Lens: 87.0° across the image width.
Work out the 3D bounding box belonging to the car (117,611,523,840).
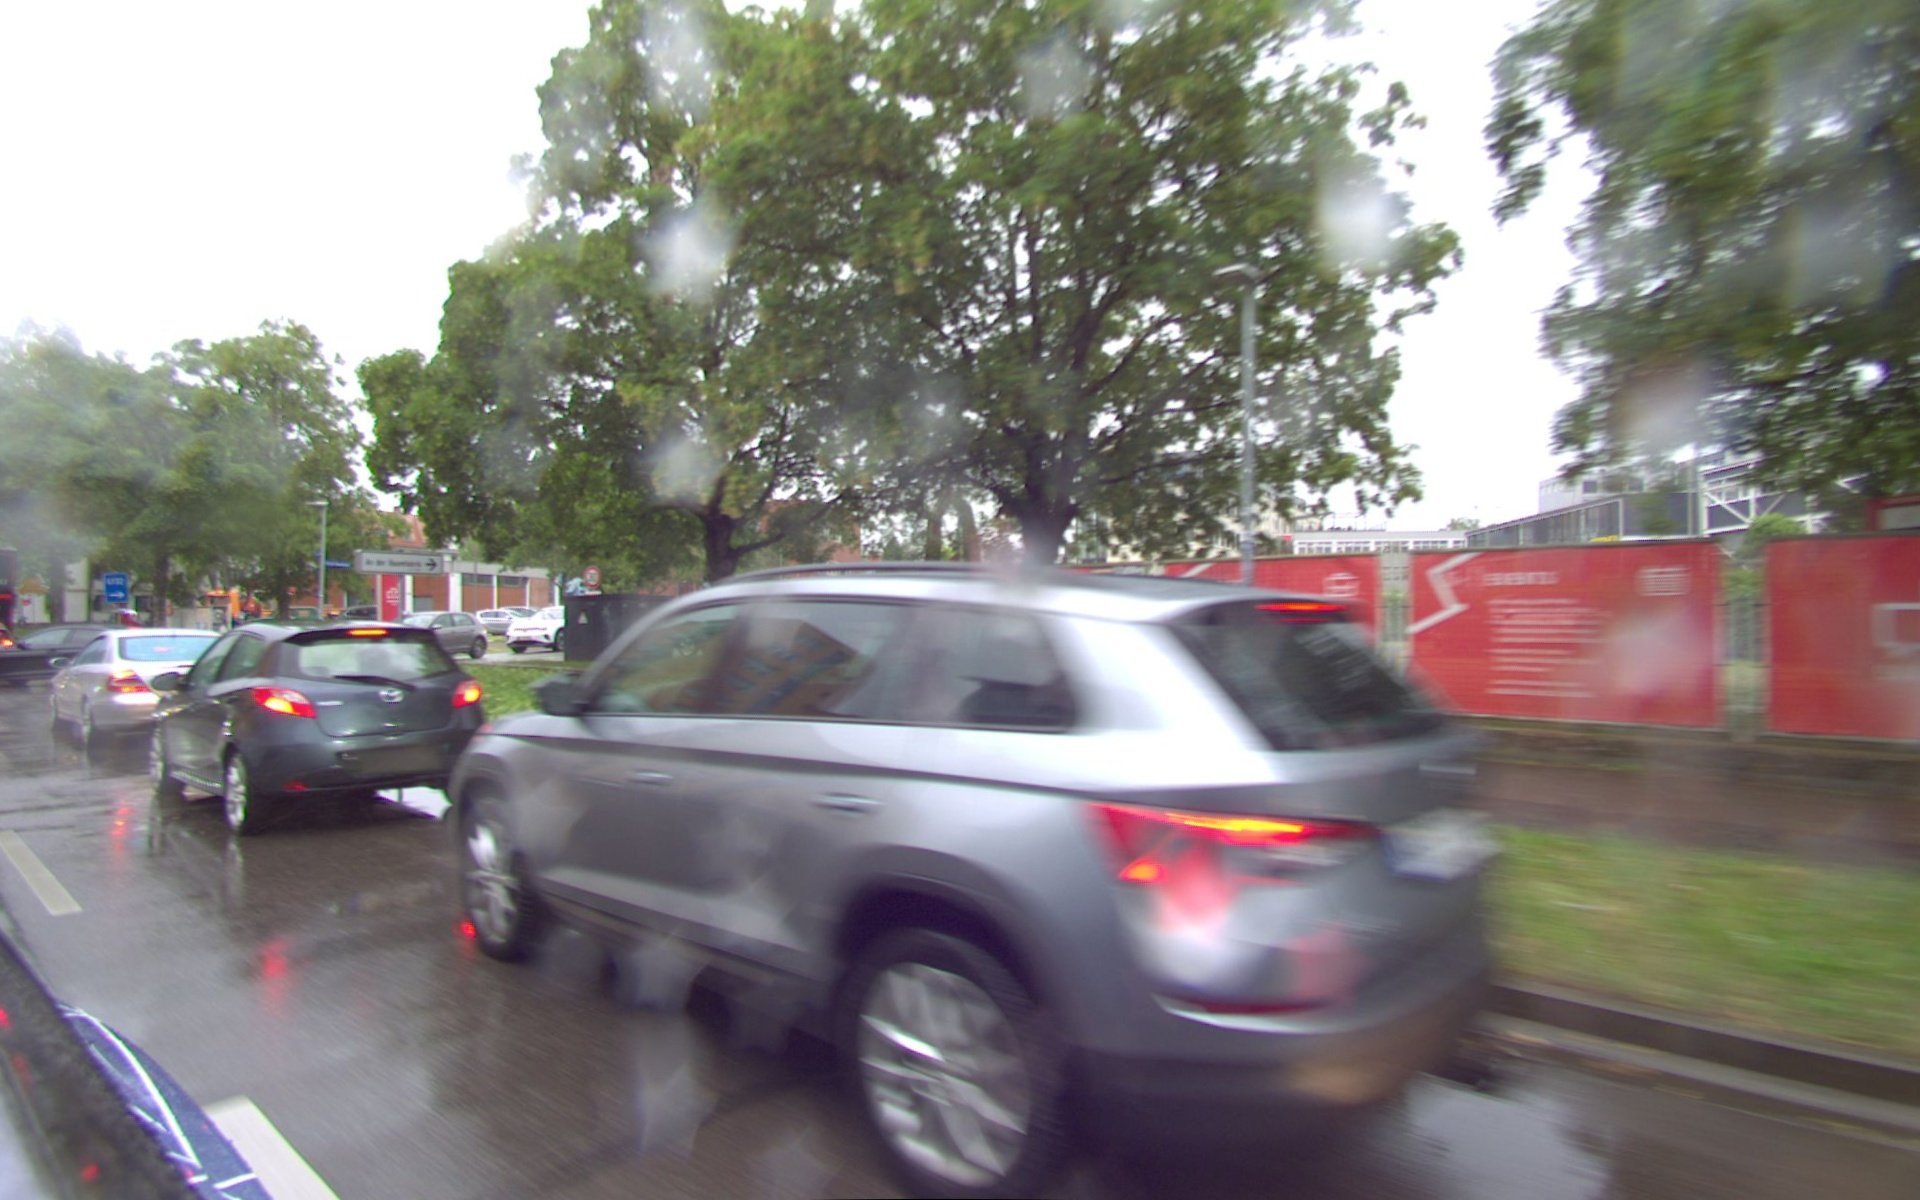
[{"bbox_3d":[-5.485,0.846,8.439,4.263,1.431,1.760,-2,-2,42],"label":"car"}]

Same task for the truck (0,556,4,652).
[{"bbox_3d":[-44.903,0.260,44.609,6.971,4.109,3.414,-2,-1,41],"label":"truck"}]

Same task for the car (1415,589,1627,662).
[{"bbox_3d":[12.957,0.594,23.645,3.962,1.595,1.794,-1,-1,15],"label":"car"}]

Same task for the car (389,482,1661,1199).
[{"bbox_3d":[-0.343,0.656,3.930,4.821,1.652,1.893,-1,0,43],"label":"car"}]

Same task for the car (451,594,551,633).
[{"bbox_3d":[-24.878,0.747,54.964,4.620,2.029,1.996,-1,-1,7],"label":"car"}]

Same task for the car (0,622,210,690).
[{"bbox_3d":[-20.838,1.279,23.685,4.844,1.465,2.092,0,-1,-16],"label":"car"}]

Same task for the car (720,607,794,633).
[{"bbox_3d":[-14.457,1.436,72.192,4.844,1.736,1.996,-1,-1,7],"label":"car"}]

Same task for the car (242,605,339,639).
[{"bbox_3d":[-34.388,1.132,51.993,3.938,1.613,2.003,-1,-2,-41],"label":"car"}]

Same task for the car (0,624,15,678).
[{"bbox_3d":[-26.017,1.311,26.401,4.337,1.371,1.707,-2,-2,43],"label":"car"}]

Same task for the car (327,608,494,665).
[{"bbox_3d":[-15.790,1.000,29.394,1.991,1.405,4.326,-1,1,11],"label":"car"}]

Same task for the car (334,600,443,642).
[{"bbox_3d":[-25.831,0.964,45.830,3.956,1.804,1.994,-1,-1,10],"label":"car"}]

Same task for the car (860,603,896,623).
[{"bbox_3d":[-6.842,1.100,84.750,1.980,1.587,3.984,-1,0,13],"label":"car"}]

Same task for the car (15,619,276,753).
[{"bbox_3d":[-10.742,0.973,13.205,4.826,1.414,1.757,-1,0,40],"label":"car"}]

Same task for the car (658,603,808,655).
[{"bbox_3d":[-7.127,0.909,31.881,4.255,1.521,1.783,-1,-2,12],"label":"car"}]

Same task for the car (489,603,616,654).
[{"bbox_3d":[-14.429,0.971,36.175,2.024,1.719,4.632,-1,0,11],"label":"car"}]

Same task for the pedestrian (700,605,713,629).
[{"bbox_3d":[-18.439,1.246,73.660,0.670,1.697,0.777,-1,-1,11],"label":"pedestrian"}]

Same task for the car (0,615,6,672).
[{"bbox_3d":[-30.873,1.287,31.160,4.802,1.631,1.847,1,0,43],"label":"car"}]

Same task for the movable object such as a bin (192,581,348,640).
[{"bbox_3d":[-36.632,0.544,53.853,6.669,2.953,2.780,-1,-1,-38],"label":"movable object such as a bin"}]

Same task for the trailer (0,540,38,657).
[{"bbox_3d":[-39.701,0.102,39.931,15.045,4.080,3.406,-2,-2,42],"label":"trailer"}]
